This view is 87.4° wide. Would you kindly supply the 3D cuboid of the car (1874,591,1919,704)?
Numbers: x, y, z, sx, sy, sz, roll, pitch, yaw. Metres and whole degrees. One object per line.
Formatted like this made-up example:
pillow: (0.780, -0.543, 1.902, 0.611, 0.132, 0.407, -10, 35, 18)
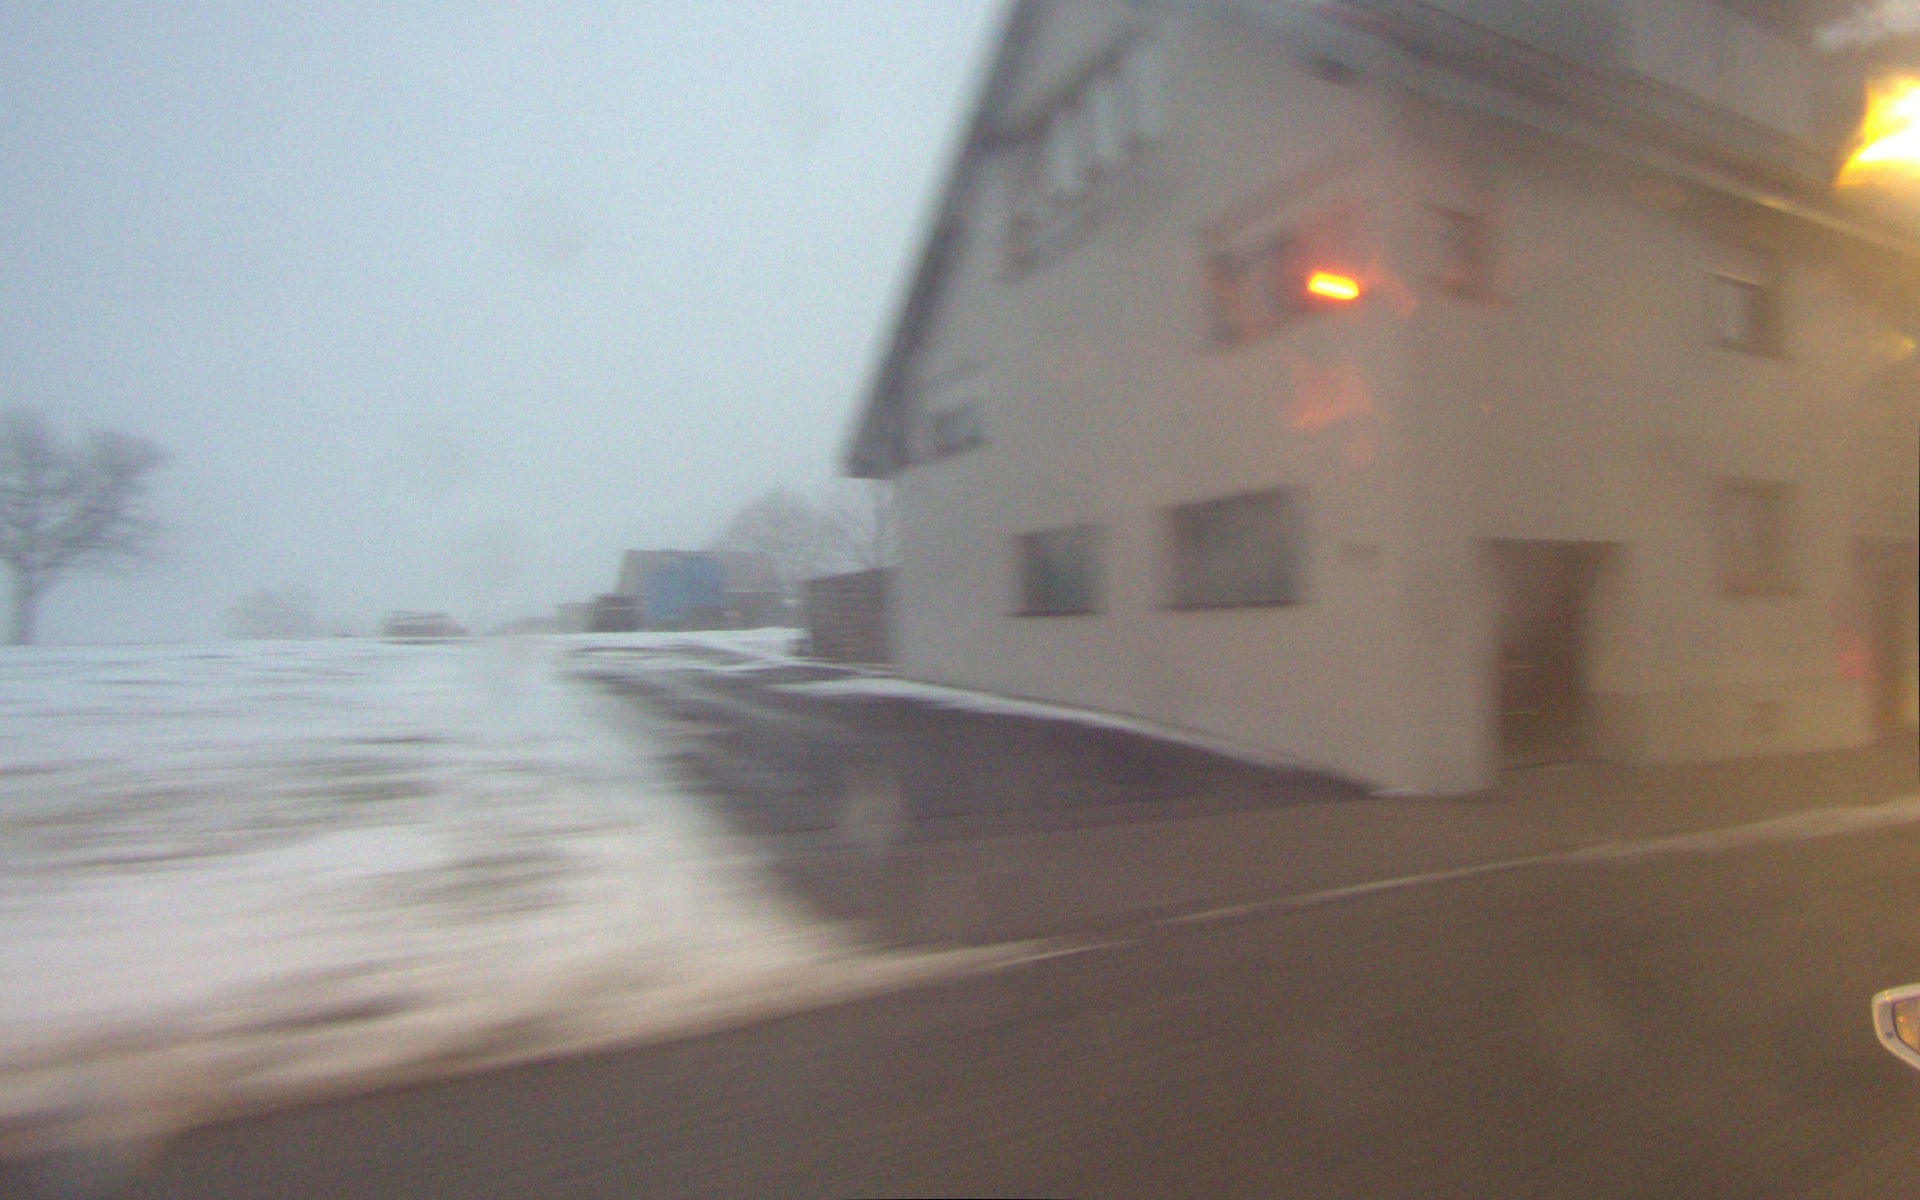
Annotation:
car: (21.405, 0.855, 20.394, 1.986, 2.307, 3.951, -1, -4, -44)
